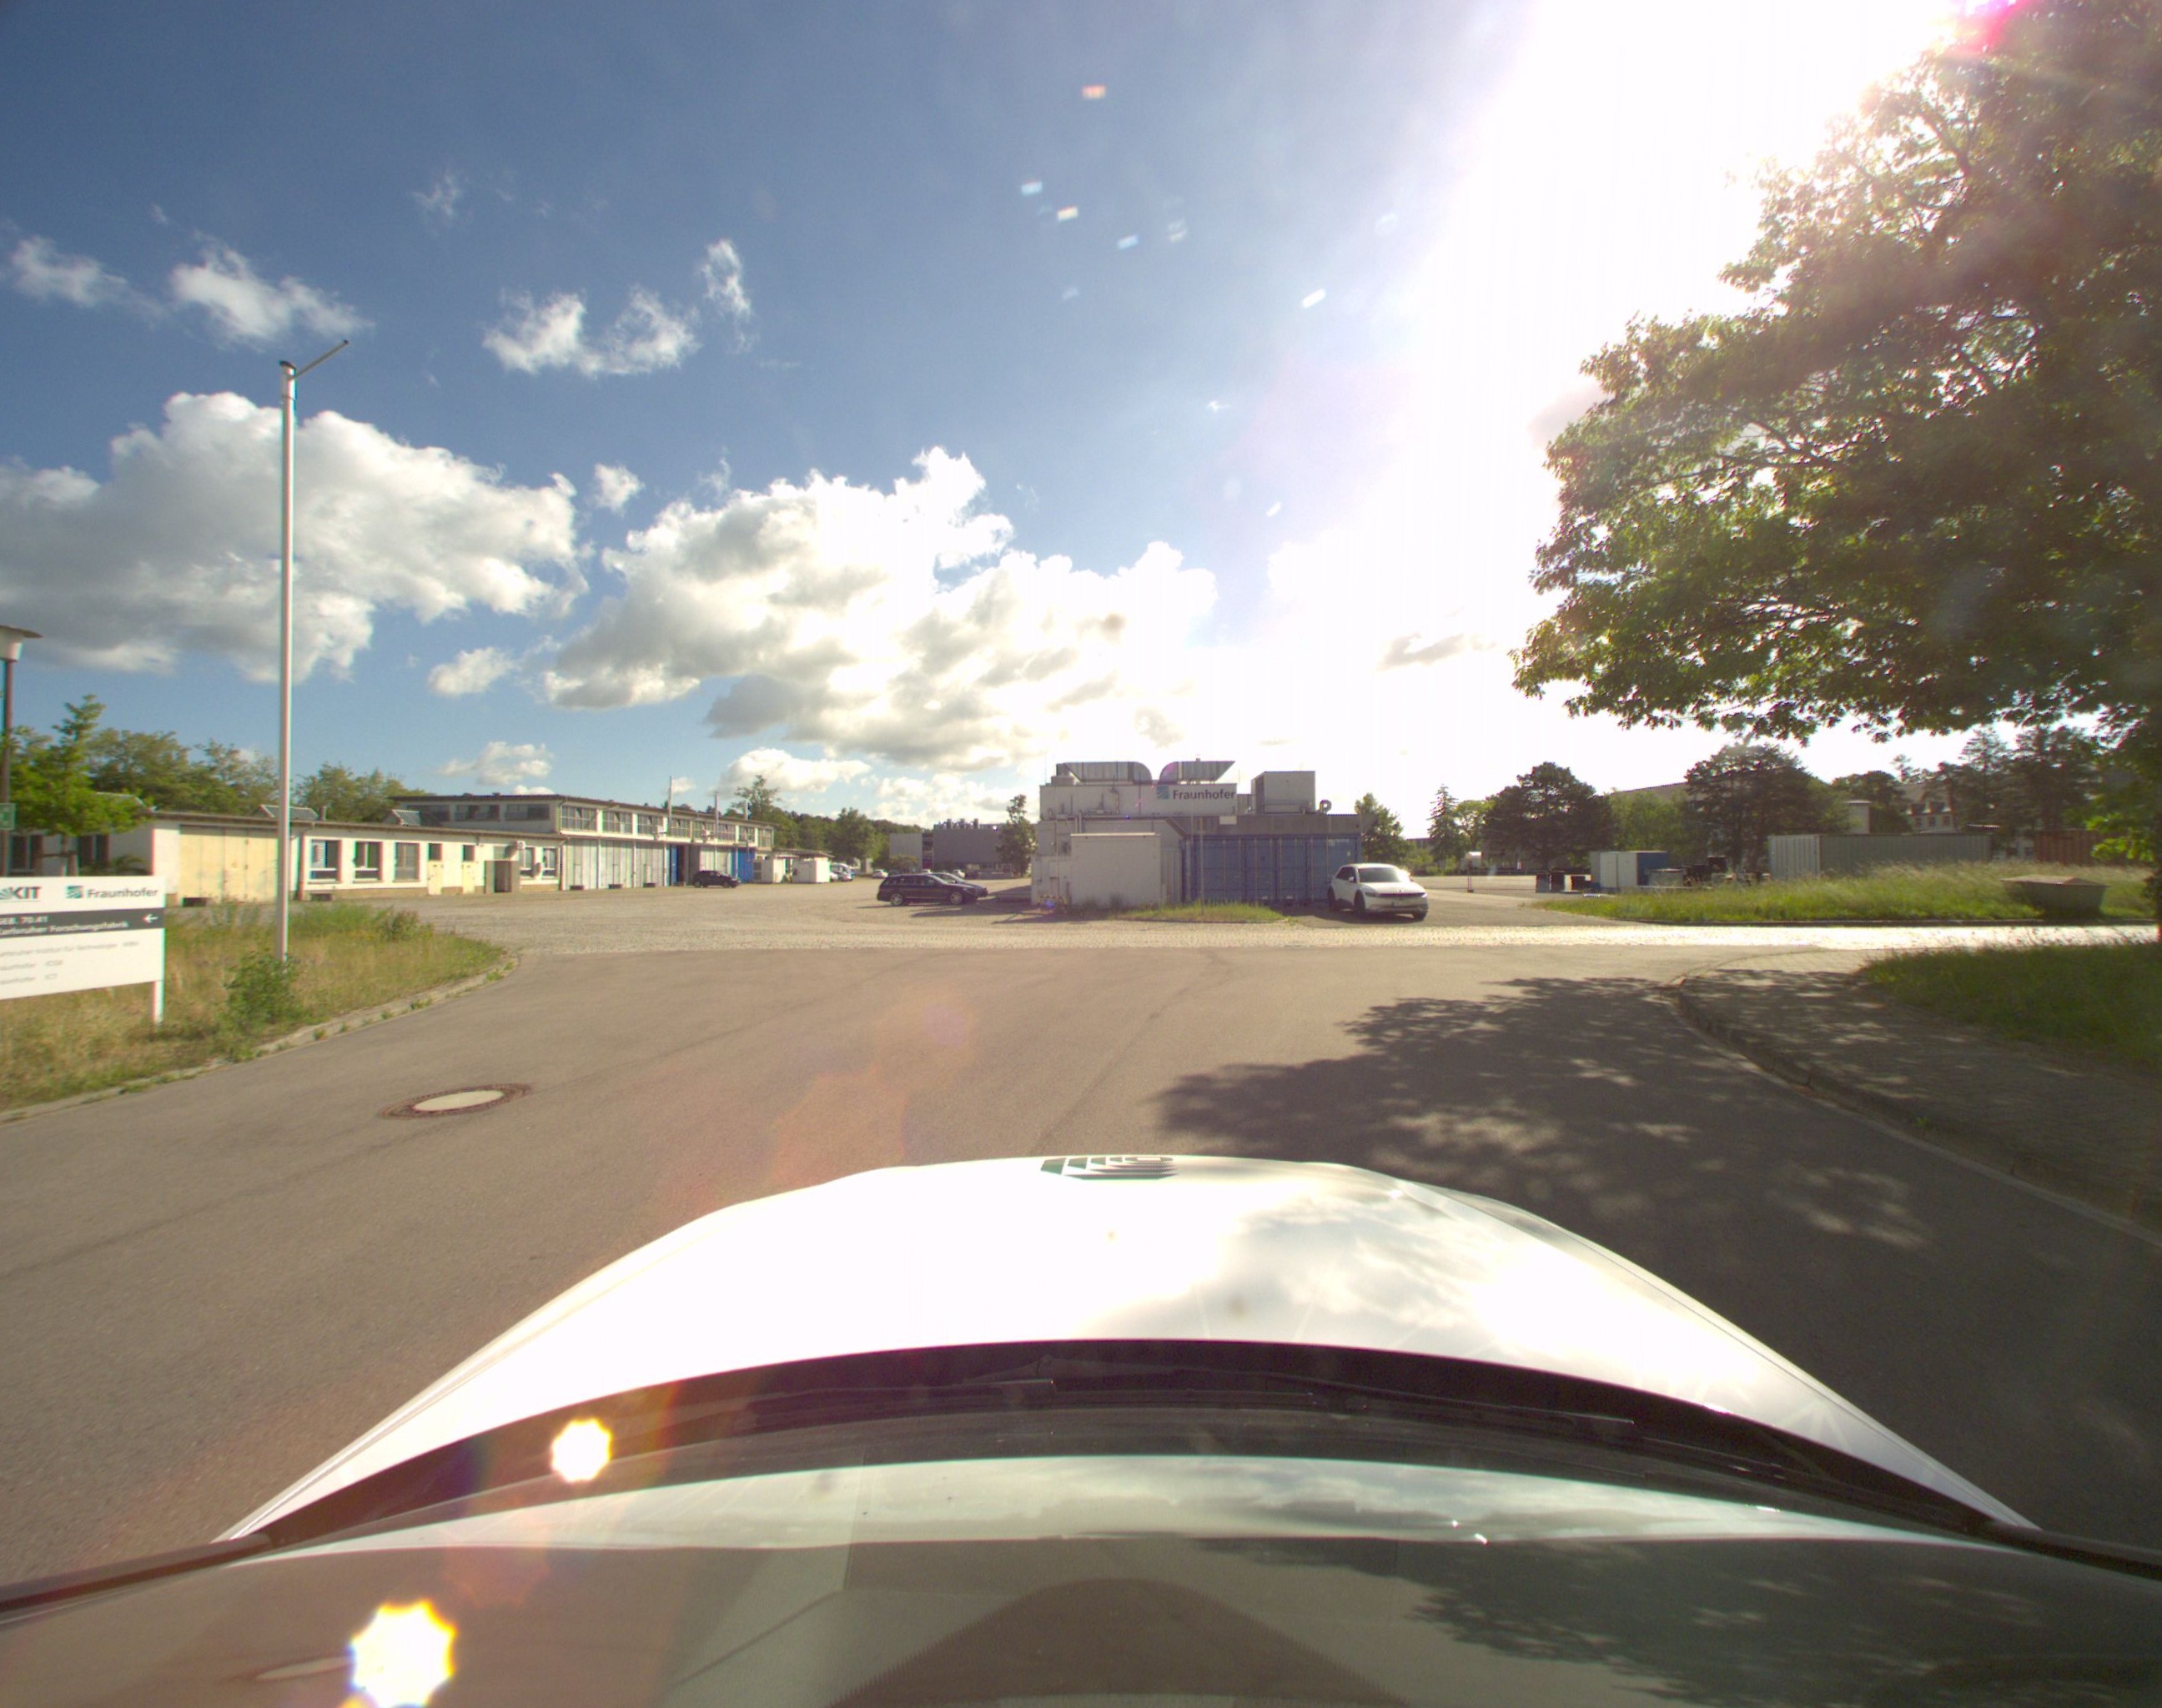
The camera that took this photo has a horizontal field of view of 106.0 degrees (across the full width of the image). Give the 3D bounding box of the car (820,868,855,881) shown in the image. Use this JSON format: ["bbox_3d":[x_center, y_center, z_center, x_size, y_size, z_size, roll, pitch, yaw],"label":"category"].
[{"bbox_3d":[-32.547,2.747,108.956,4.089,1.631,1.810,0,-1,6],"label":"car"}]

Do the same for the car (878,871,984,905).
[{"bbox_3d":[-6.967,1.588,38.035,4.512,1.443,1.988,-1,-3,2],"label":"car"}]

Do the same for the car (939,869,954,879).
[{"bbox_3d":[-22.332,3.373,135.184,1.872,1.537,4.034,-2,-1,0],"label":"car"}]

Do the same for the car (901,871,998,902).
[{"bbox_3d":[-6.617,1.642,41.287,4.512,1.443,1.904,-1,-3,2],"label":"car"}]

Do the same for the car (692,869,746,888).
[{"bbox_3d":[-33.529,2.273,75.521,4.148,1.666,1.783,1,-2,0],"label":"car"}]

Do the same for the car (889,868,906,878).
[{"bbox_3d":[-30.455,3.179,135.262,1.873,1.537,4.031,-2,-1,-3],"label":"car"}]

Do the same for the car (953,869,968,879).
[{"bbox_3d":[-20.007,3.276,135.361,1.872,1.537,4.034,-2,-1,0],"label":"car"}]

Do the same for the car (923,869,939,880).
[{"bbox_3d":[-24.885,3.414,135.387,1.872,1.689,4.034,-2,-1,0],"label":"car"}]

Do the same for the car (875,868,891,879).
[{"bbox_3d":[-32.896,3.224,135.430,1.842,1.668,4.128,-2,-1,-3],"label":"car"}]

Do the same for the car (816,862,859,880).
[{"bbox_3d":[-33.428,2.368,111.926,5.232,2.442,2.053,0,-1,5],"label":"car"}]

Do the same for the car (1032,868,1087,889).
[{"bbox_3d":[-1.715,1.980,65.684,4.263,1.569,1.988,-1,-3,2],"label":"car"}]

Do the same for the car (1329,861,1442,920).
[{"bbox_3d":[9.221,1.049,25.107,1.973,1.593,4.342,0,0,2],"label":"car"}]
